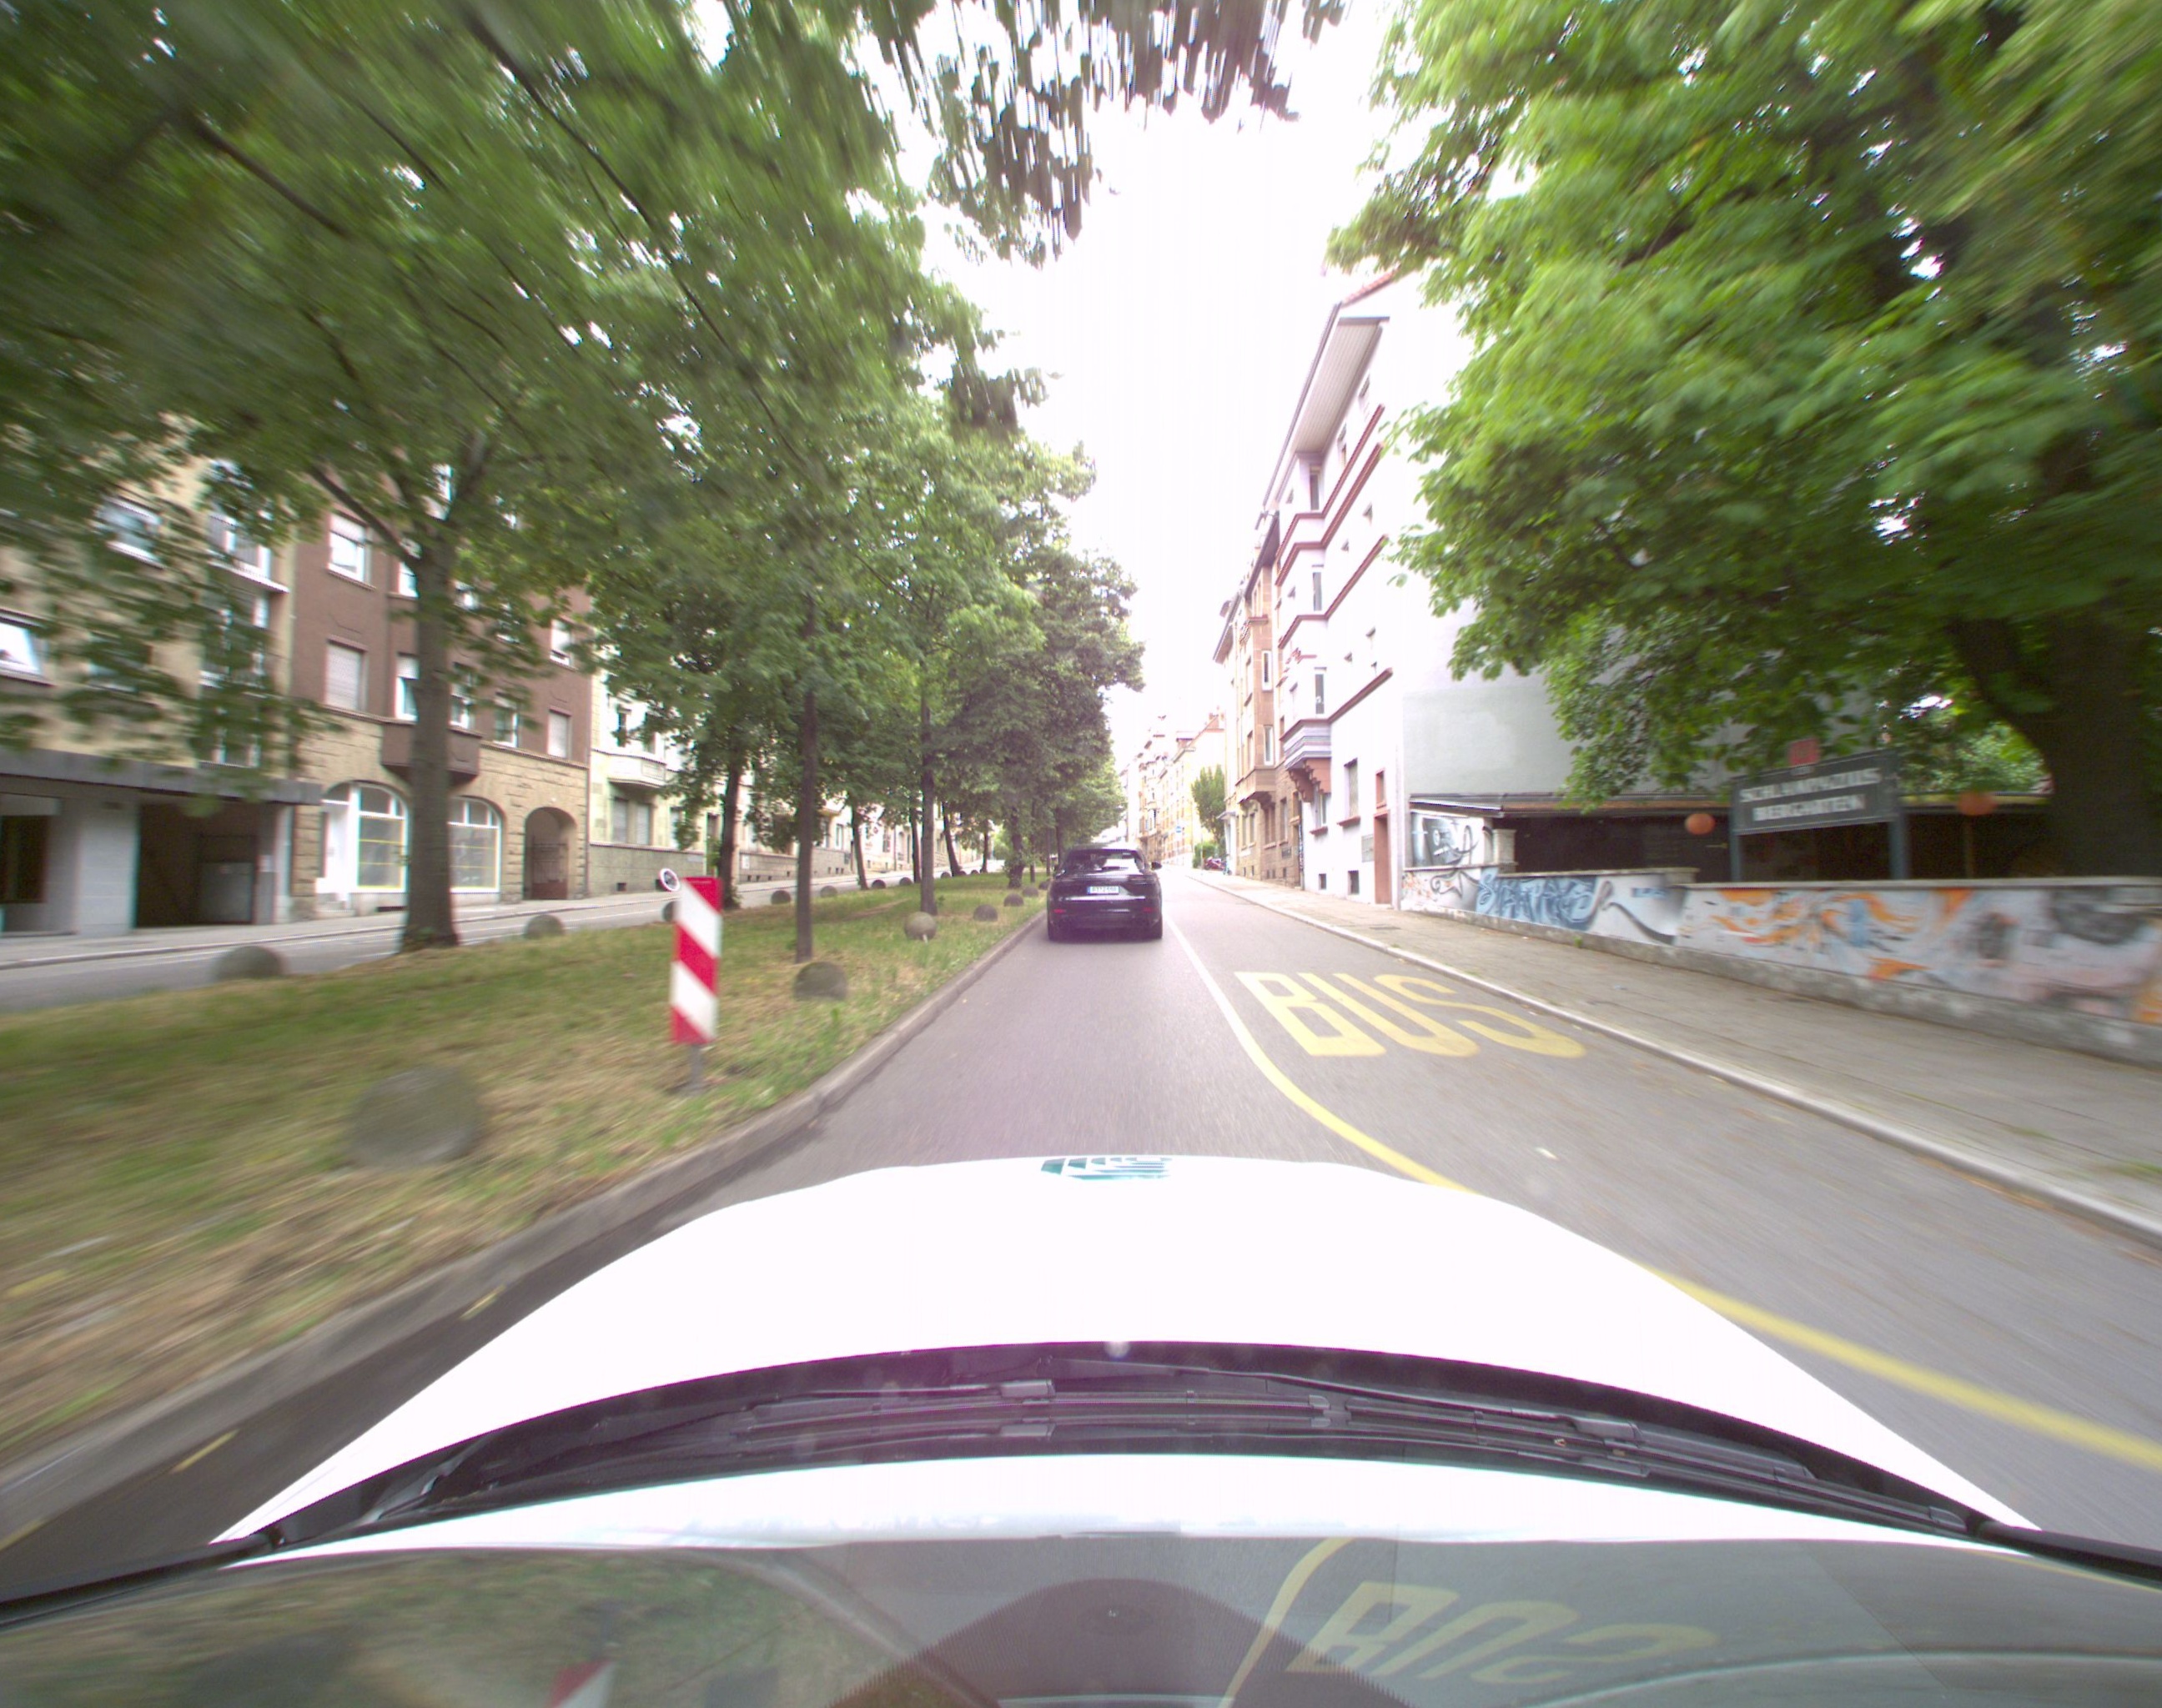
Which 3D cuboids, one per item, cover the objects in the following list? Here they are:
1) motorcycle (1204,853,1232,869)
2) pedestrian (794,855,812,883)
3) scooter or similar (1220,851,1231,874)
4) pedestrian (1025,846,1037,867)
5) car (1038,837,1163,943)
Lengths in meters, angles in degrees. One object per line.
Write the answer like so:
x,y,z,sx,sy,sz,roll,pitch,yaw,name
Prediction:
11.058,0.578,65.677,2.050,1.268,1.009,1,0,-2,motorcycle
-14.713,0.772,43.124,0.696,1.460,0.704,0,0,3,pedestrian
8.423,0.492,47.401,0.408,1.210,1.146,-3,3,2,scooter or similar
-4.301,0.190,69.849,0.830,1.712,1.123,-4,-2,2,pedestrian
0.339,0.572,15.152,1.987,1.665,4.000,-1,0,1,car
